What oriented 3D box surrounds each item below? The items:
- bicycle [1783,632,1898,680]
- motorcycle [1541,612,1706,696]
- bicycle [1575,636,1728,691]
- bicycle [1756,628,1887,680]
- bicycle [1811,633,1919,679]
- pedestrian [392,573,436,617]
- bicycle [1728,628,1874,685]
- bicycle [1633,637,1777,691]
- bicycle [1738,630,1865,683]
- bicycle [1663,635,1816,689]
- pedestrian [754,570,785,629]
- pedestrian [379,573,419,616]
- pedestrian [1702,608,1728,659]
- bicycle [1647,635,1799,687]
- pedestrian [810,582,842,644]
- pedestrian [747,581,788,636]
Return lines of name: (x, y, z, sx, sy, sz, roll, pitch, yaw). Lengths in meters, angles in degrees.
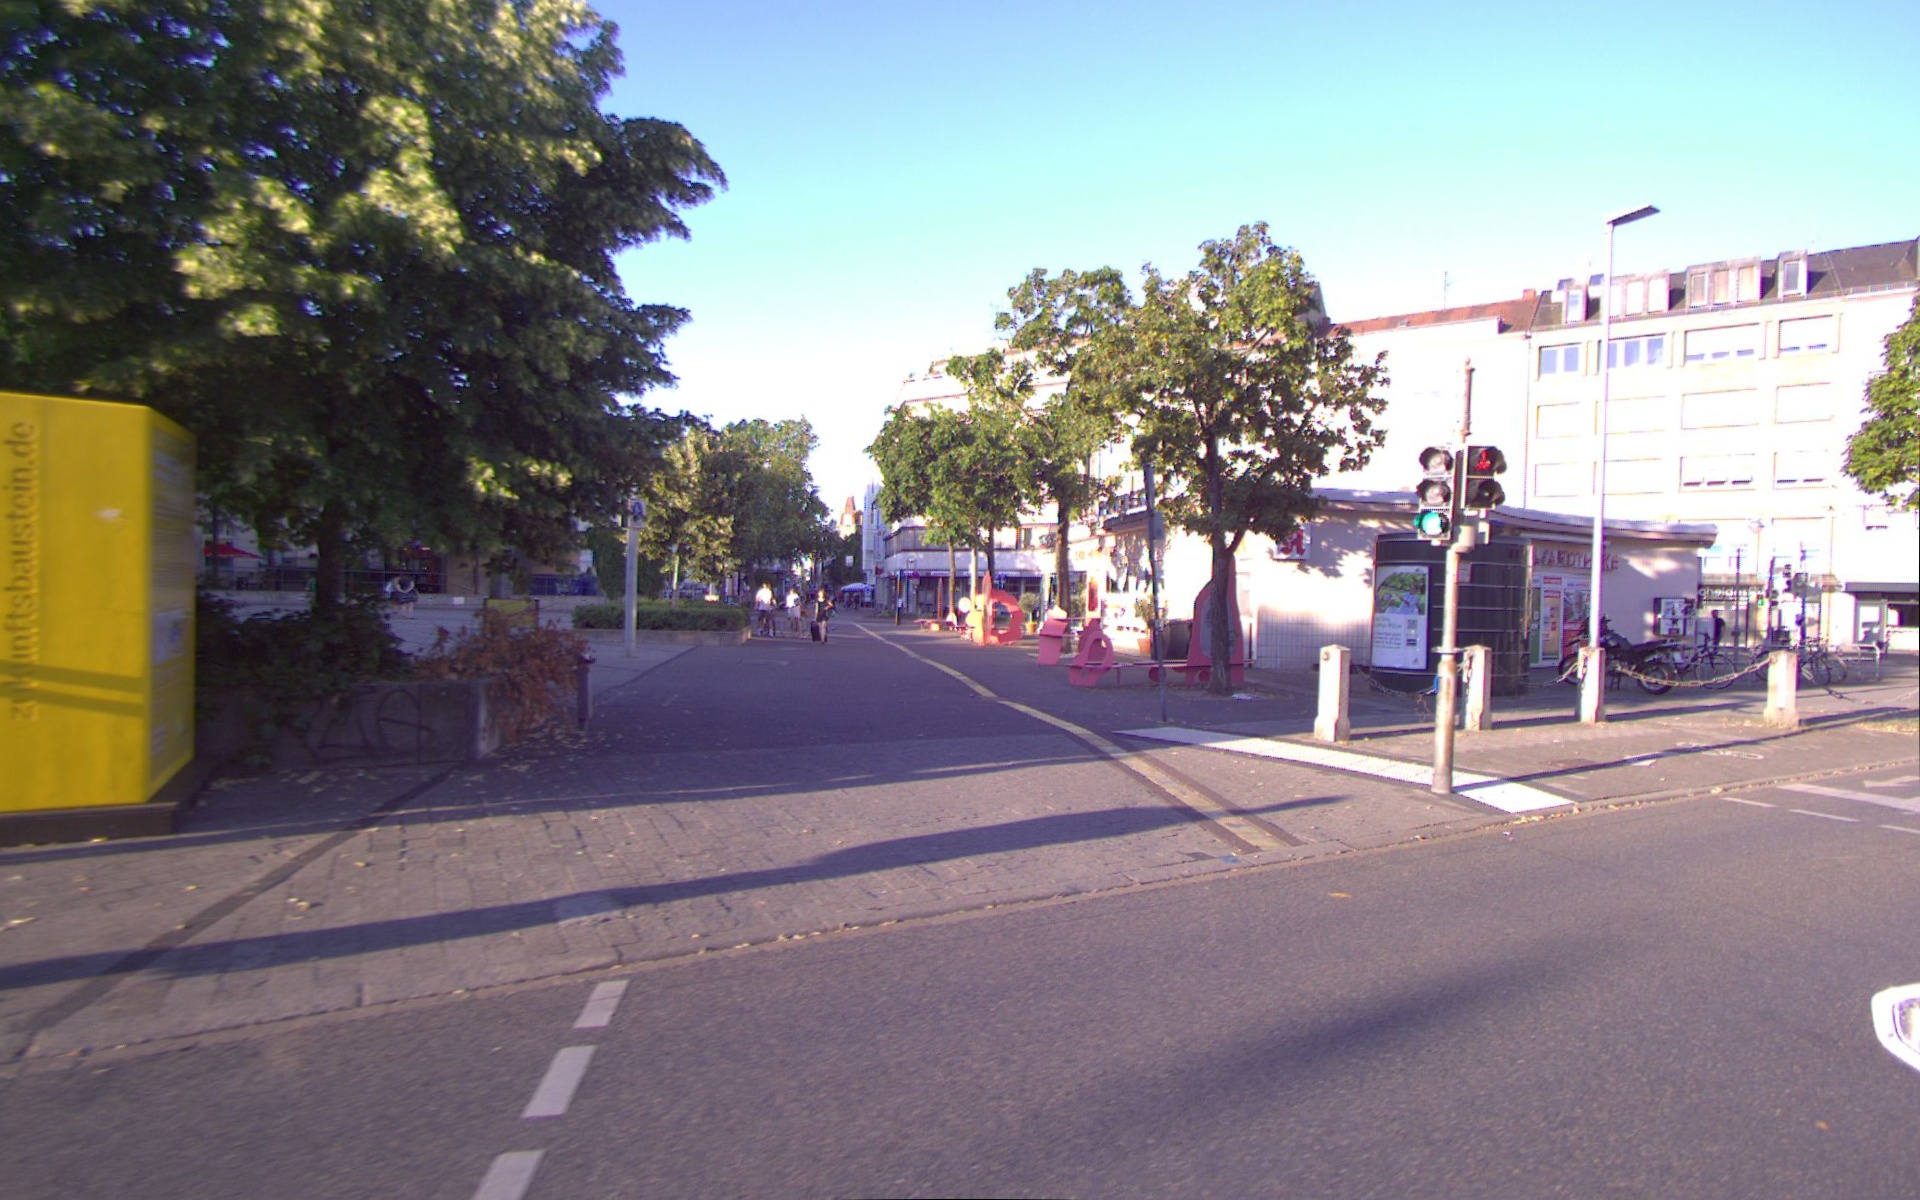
bicycle: (22.330, 1.390, 25.531, 0.673, 1.078, 2.082, 1, 1, -29)
motorcycle: (12.679, 0.990, 19.287, 1.100, 1.445, 2.401, 1, 1, -30)
bicycle: (14.165, 1.276, 20.676, 0.693, 0.931, 2.509, 1, 1, -32)
bicycle: (21.214, 1.305, 24.797, 0.790, 1.146, 2.313, 1, 1, -28)
bicycle: (23.501, 1.420, 25.401, 0.832, 1.036, 2.931, 1, 0, -27)
pedestrian: (-19.370, -0.190, 35.626, 0.963, 1.521, 0.988, 2, 1, 28)
bicycle: (19.559, 1.282, 23.445, 0.693, 1.161, 2.509, 1, 1, -32)
bicycle: (15.510, 1.307, 20.990, 0.693, 0.931, 2.314, 1, 1, -32)
bicycle: (20.398, 1.341, 24.400, 0.803, 1.150, 2.223, 1, 1, -32)
bicycle: (17.199, 1.330, 22.243, 0.923, 1.011, 2.509, 1, 1, -32)
pedestrian: (-6.730, -0.013, 35.462, 0.944, 2.041, 1.055, 1, 1, -18)
pedestrian: (-20.210, -0.201, 36.192, 0.829, 1.521, 0.947, 2, 1, 30)
pedestrian: (24.694, 1.094, 32.860, 0.539, 1.632, 0.642, 2, 1, 26)
bicycle: (16.311, 1.288, 21.567, 0.693, 0.931, 2.509, 1, 1, -32)
pedestrian: (-4.012, 0.375, 30.160, 0.695, 1.802, 0.897, 1, 1, 8)
pedestrian: (-6.456, 0.279, 33.663, 1.169, 1.802, 0.710, 1, 1, 5)
